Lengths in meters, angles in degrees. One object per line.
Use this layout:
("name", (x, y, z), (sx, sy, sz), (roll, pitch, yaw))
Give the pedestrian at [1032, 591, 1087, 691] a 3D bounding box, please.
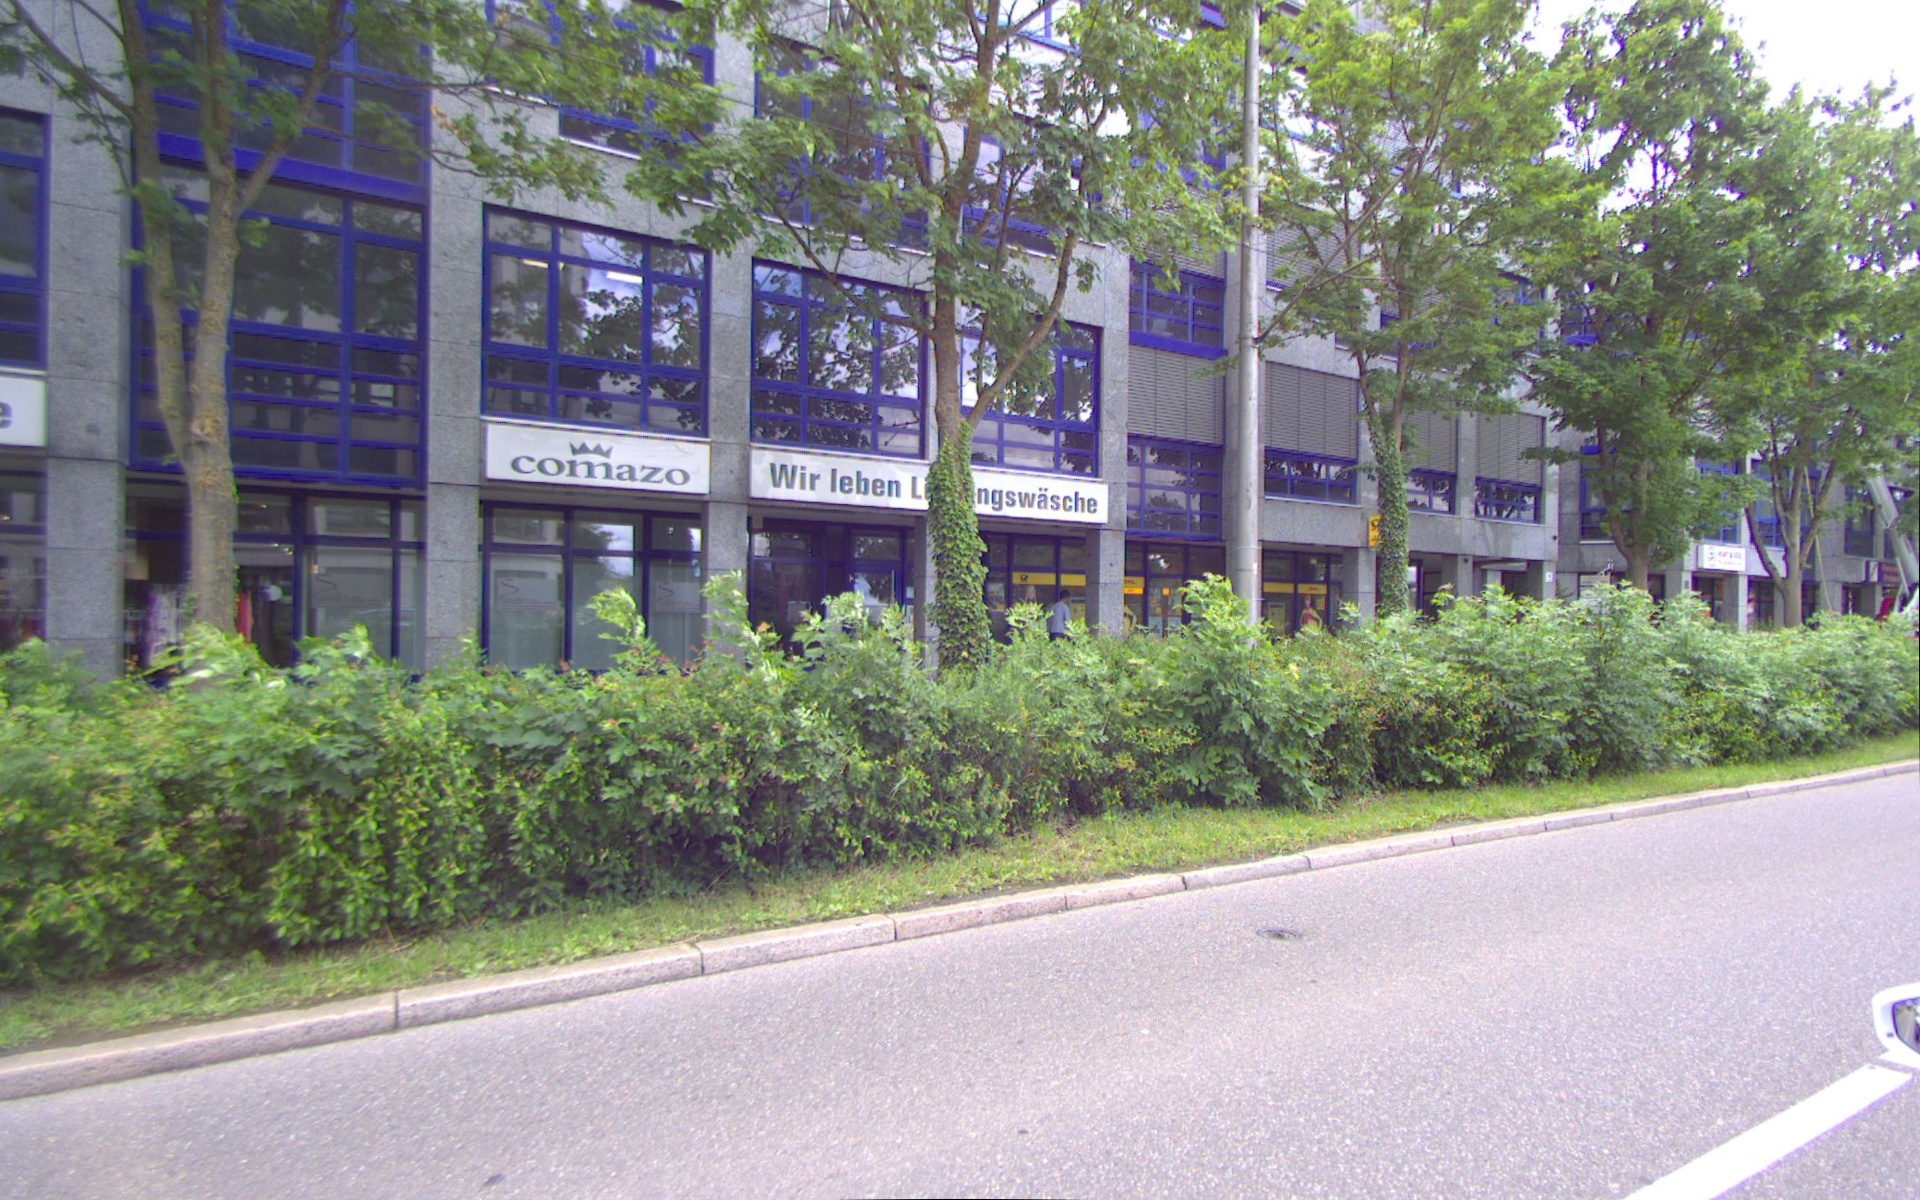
("pedestrian", (1.955, 0.802, 19.805), (0.723, 1.919, 0.771), (2, 0, -30))
